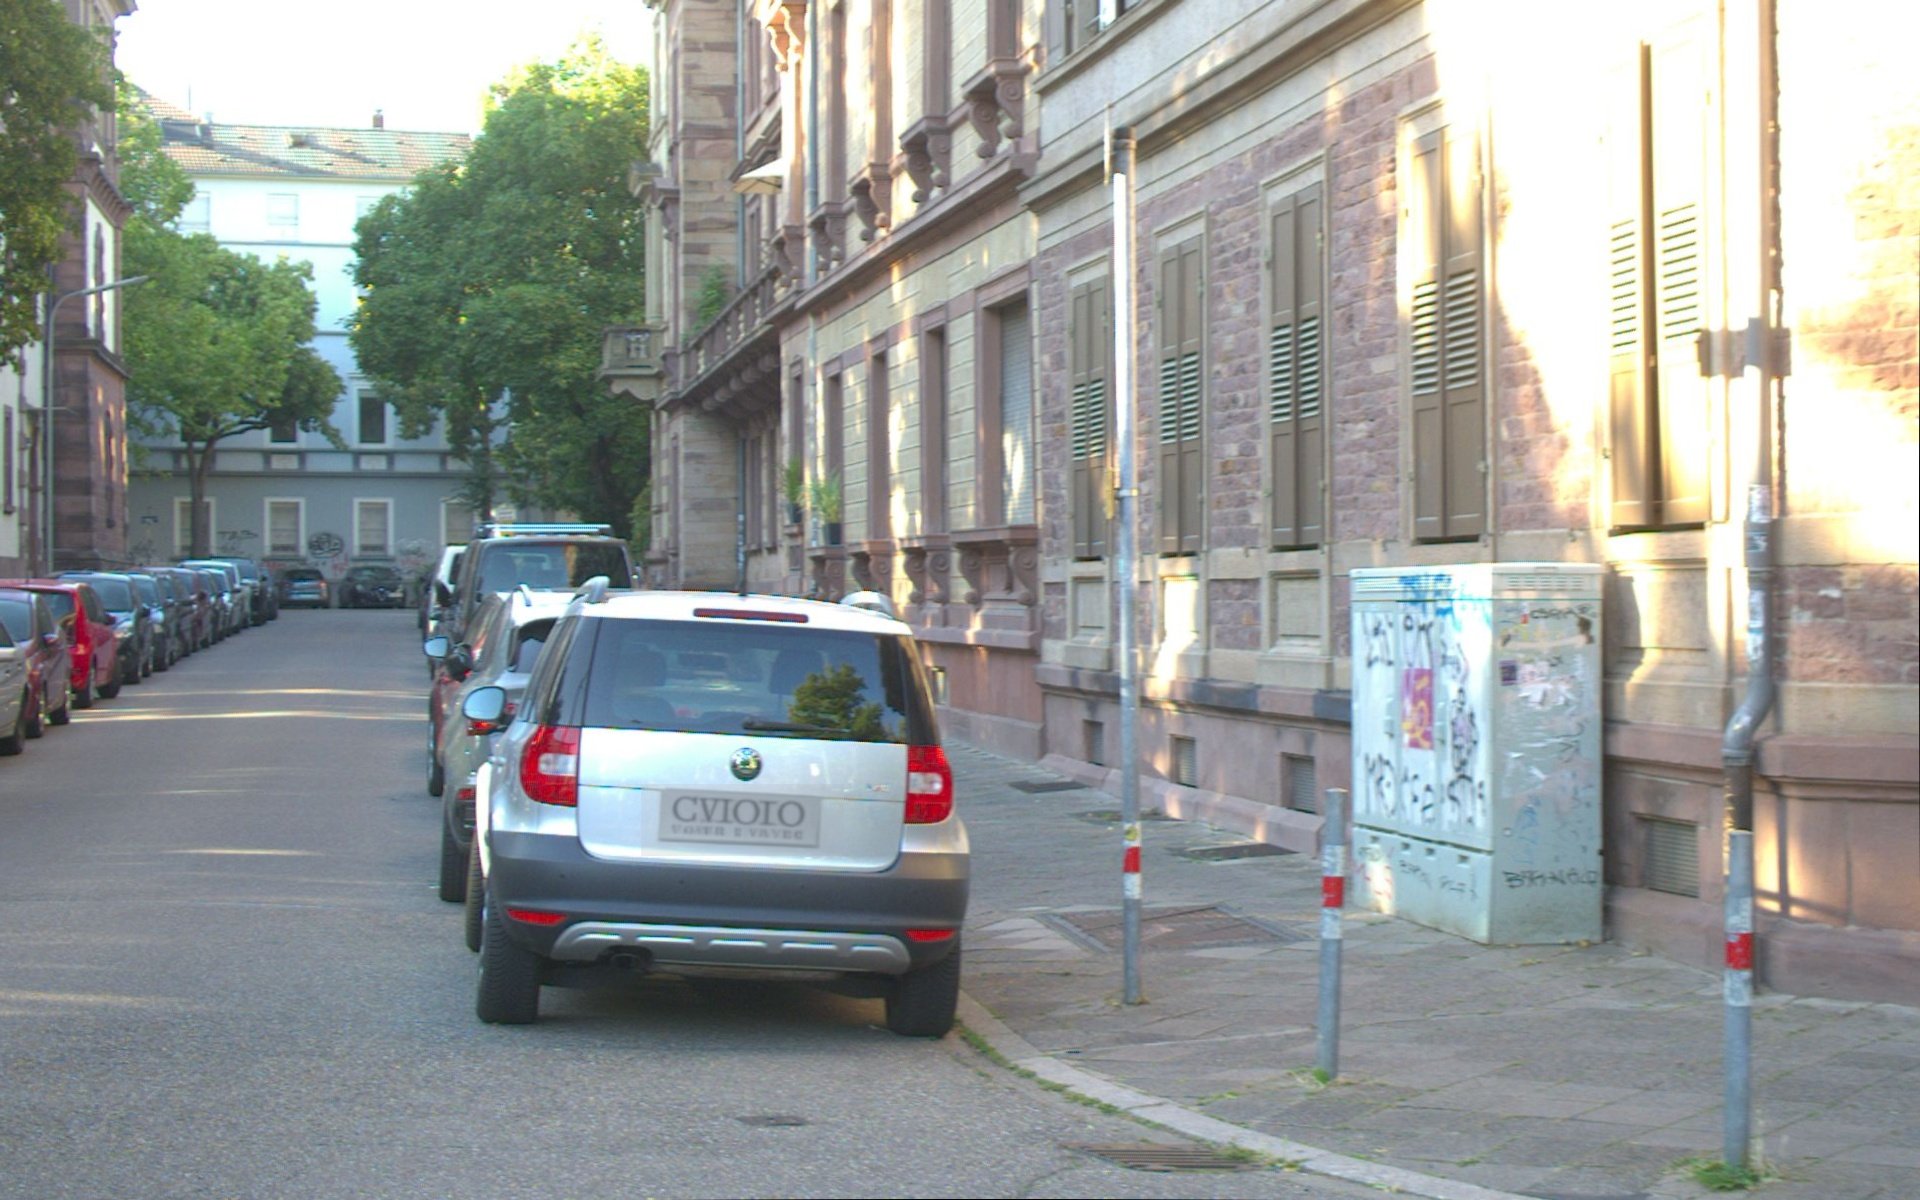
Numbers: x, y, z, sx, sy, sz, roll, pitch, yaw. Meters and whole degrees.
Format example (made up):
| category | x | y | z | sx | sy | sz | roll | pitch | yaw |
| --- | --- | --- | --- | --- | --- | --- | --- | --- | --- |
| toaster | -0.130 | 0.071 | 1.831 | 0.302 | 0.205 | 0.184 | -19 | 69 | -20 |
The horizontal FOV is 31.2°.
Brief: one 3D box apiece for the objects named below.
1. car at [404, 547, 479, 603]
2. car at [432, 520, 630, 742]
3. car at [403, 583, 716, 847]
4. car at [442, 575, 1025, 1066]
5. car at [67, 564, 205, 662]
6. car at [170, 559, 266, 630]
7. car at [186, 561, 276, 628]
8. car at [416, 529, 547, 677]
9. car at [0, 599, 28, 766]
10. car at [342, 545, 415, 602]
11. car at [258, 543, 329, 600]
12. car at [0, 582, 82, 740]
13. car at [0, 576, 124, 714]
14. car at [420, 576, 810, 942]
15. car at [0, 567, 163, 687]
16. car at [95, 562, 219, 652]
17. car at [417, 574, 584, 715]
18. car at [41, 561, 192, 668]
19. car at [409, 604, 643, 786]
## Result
| category | x | y | z | sx | sy | sz | roll | pitch | yaw |
| --- | --- | --- | --- | --- | --- | --- | --- | --- | --- |
| car | -17.078 | -0.803 | 113.120 | 1.993 | 1.678 | 4.001 | 1 | -2 | -14 |
| car | -4.427 | 0.289 | 35.074 | 1.797 | 2.065 | 3.956 | 2 | 0 | -9 |
| car | -2.882 | 0.736 | 24.037 | 1.797 | 1.608 | 3.956 | 2 | 0 | -11 |
| car | -1.094 | 0.784 | 14.153 | 1.915 | 1.651 | 4.188 | 3 | 0 | -9 |
| car | -13.700 | 0.198 | 57.329 | 1.825 | 1.495 | 3.932 | 3 | 0 | -8 |
| car | -16.910 | -0.136 | 78.494 | 1.825 | 1.495 | 3.932 | 3 | 0 | -8 |
| car | -17.685 | -0.150 | 83.537 | 1.825 | 1.495 | 3.932 | 3 | 0 | -8 |
| car | -7.251 | 0.029 | 51.892 | 1.797 | 2.065 | 3.956 | 2 | 0 | -9 |
| car | -9.205 | 0.695 | 29.481 | 1.825 | 1.442 | 3.932 | 3 | 0 | -8 |
| car | -19.029 | -0.847 | 112.330 | 1.993 | 1.678 | 4.001 | 1 | -2 | -14 |
| car | -21.639 | -0.901 | 111.461 | 1.993 | 1.678 | 4.001 | 1 | -2 | -14 |
| car | -10.115 | 0.554 | 34.978 | 1.825 | 1.473 | 3.932 | 3 | 0 | -8 |
| car | -11.170 | 0.498 | 41.205 | 1.825 | 1.495 | 3.932 | 3 | 0 | -8 |
| car | -2.025 | 0.775 | 19.170 | 1.825 | 1.718 | 4.544 | 3 | 0 | -8 |
| car | -12.125 | 0.348 | 47.394 | 1.825 | 1.495 | 3.932 | 3 | 0 | -8 |
| car | -14.669 | 0.111 | 62.952 | 1.825 | 1.495 | 3.932 | 3 | 0 | -8 |
| car | -5.477 | 0.487 | 40.652 | 1.797 | 1.518 | 3.956 | 2 | 0 | -9 |
| car | -12.948 | 0.205 | 52.956 | 1.825 | 1.495 | 3.932 | 3 | 0 | -8 |
| car | -3.766 | 0.766 | 29.368 | 1.797 | 1.341 | 3.956 | 2 | 0 | -9 |
